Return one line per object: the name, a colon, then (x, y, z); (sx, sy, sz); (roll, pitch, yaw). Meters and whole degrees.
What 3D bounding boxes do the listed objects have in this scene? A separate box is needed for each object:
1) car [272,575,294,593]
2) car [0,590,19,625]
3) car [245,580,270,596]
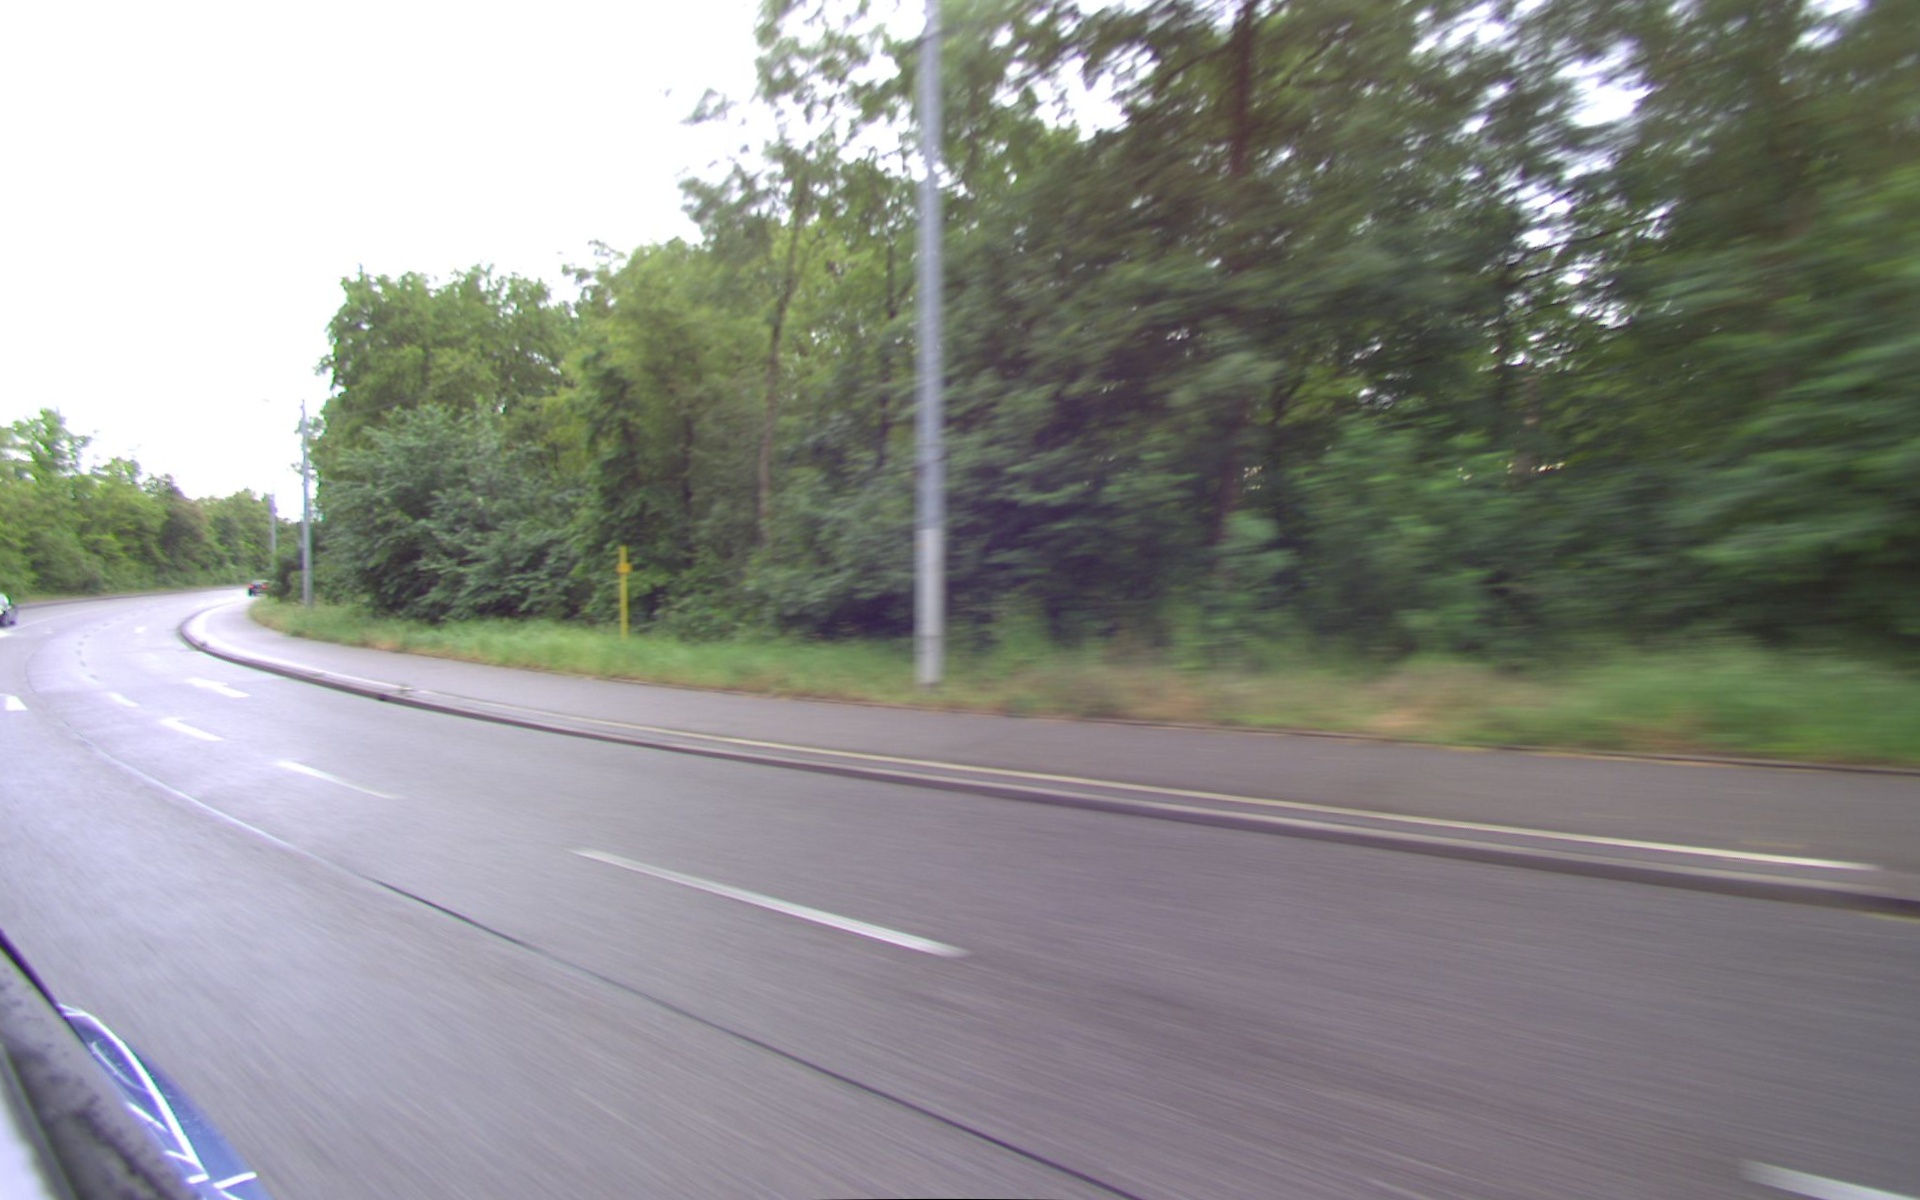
car: (-76.824, -1.778, 114.869); (1.802, 1.857, 4.724); (5, -3, -32)
car: (-43.311, 0.254, 44.637); (1.802, 1.532, 4.011); (5, -3, -32)
car: (-69.152, -1.182, 99.621); (1.802, 1.451, 4.011); (1, -1, -32)
